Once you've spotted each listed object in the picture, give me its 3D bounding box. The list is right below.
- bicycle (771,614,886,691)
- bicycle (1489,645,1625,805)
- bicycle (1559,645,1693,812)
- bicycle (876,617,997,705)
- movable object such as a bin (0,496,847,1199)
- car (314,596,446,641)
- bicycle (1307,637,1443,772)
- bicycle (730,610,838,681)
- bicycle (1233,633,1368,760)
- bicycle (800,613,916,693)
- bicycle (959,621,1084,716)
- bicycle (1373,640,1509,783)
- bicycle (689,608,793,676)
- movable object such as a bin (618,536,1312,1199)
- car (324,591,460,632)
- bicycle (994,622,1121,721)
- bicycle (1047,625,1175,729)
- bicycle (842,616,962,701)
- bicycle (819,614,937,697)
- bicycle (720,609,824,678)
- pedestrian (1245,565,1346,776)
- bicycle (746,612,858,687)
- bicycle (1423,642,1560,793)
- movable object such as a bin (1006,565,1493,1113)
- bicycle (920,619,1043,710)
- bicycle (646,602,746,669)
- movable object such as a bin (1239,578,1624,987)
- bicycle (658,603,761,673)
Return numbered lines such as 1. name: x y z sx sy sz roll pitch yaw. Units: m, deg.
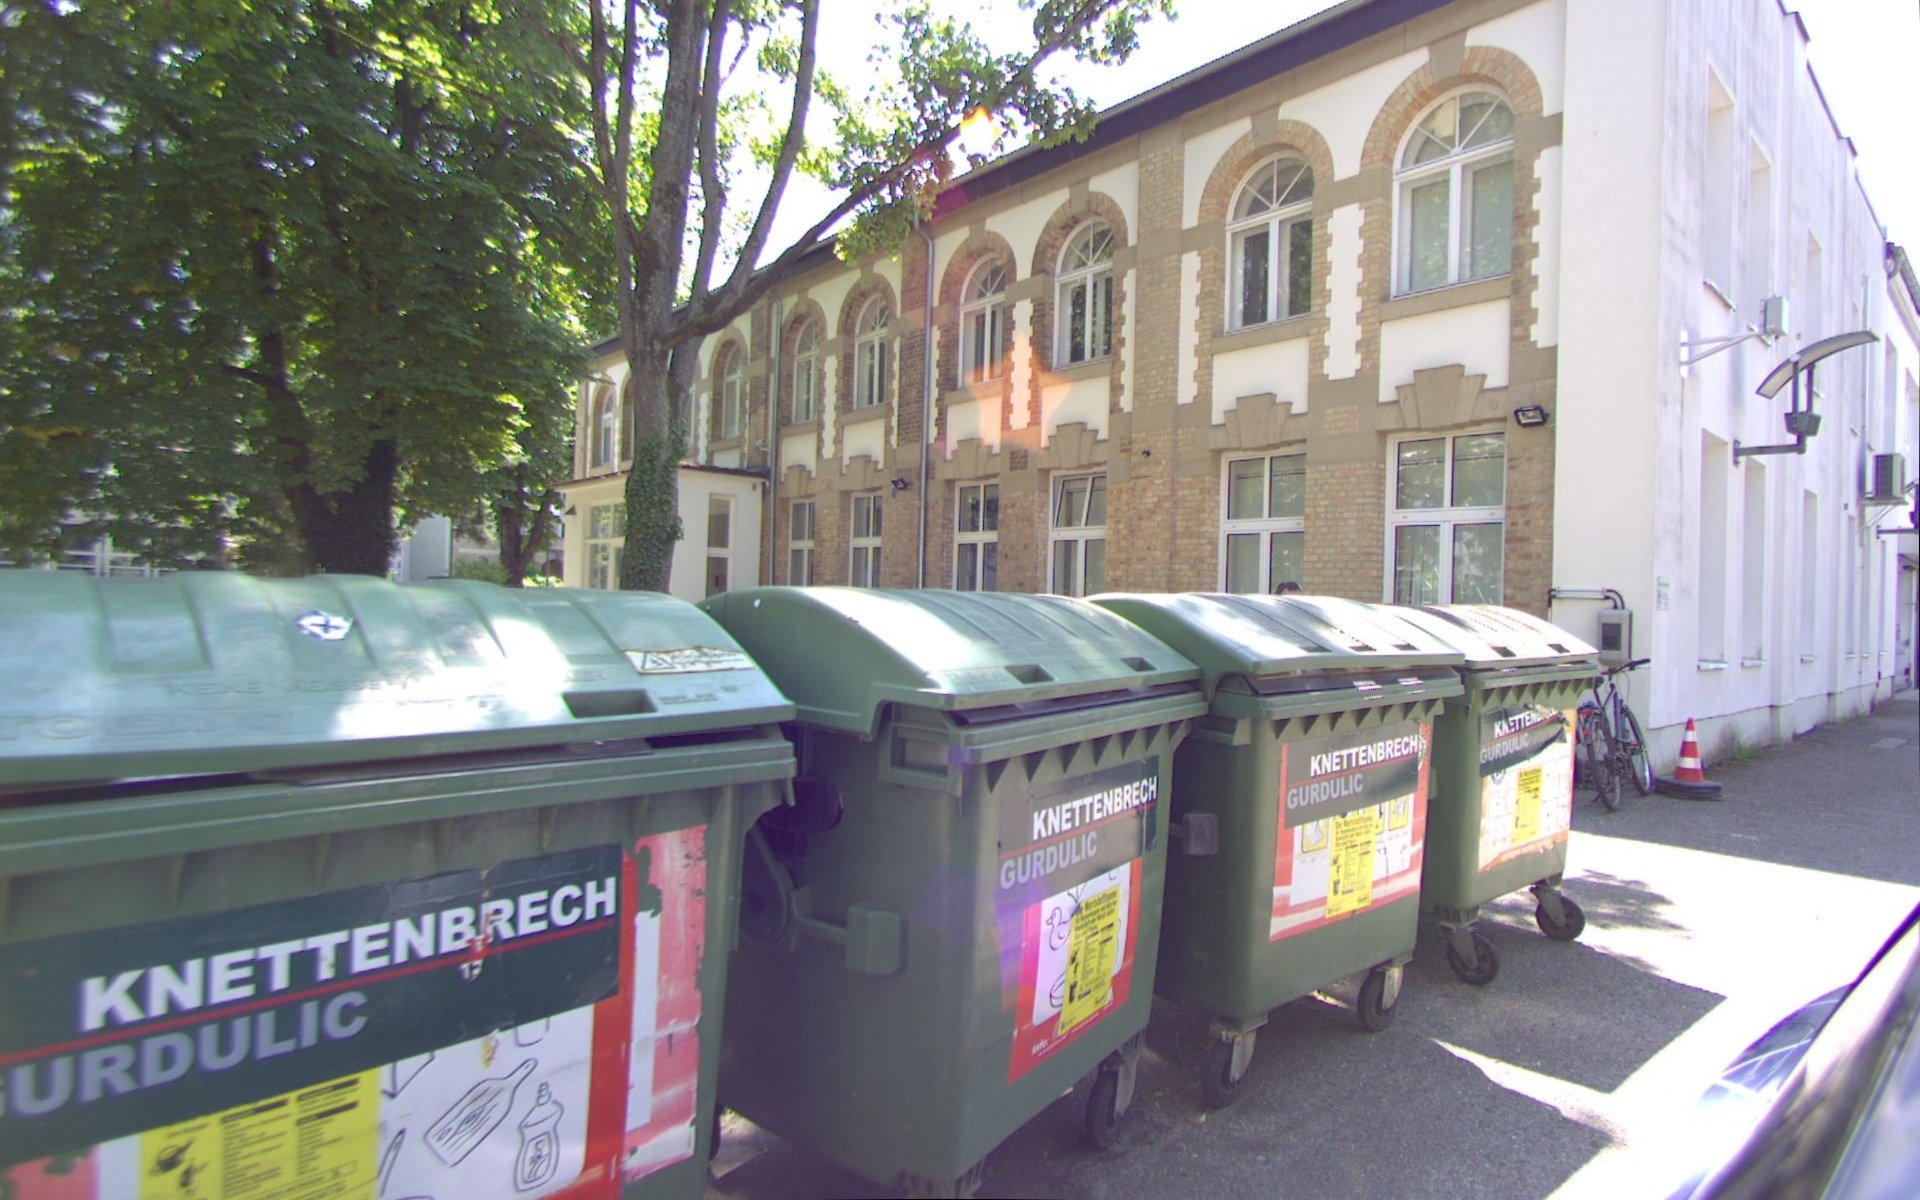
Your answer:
1. bicycle: -1.973 0.771 15.389 1.794 1.115 0.405 1 0 -42
2. bicycle: 4.864 0.953 8.193 1.794 1.115 0.405 1 0 -42
3. bicycle: 5.208 0.940 7.870 1.794 1.115 0.405 1 0 -42
4. bicycle: -0.293 0.797 13.756 1.794 1.115 0.405 1 0 -42
5. movable object such as a bin: -1.060 0.626 1.657 1.352 1.476 1.077 1 0 -40
6. car: -18.843 0.573 33.028 1.634 1.359 3.504 1 0 21
7. bicycle: 3.893 0.922 9.426 1.794 1.115 0.405 1 0 -42
8. bicycle: -2.901 0.740 16.808 1.794 1.115 0.405 1 0 -42
9. bicycle: 3.377 0.906 9.959 1.794 1.115 0.405 1 0 -42
10. bicycle: -1.486 0.761 14.976 1.794 1.115 0.405 1 0 -42
11. bicycle: 0.800 0.828 12.753 1.794 1.115 0.405 1 0 -42
12. bicycle: 4.284 0.934 8.957 1.794 1.115 0.405 1 0 -42
13. bicycle: -3.798 0.714 17.655 1.794 1.115 0.405 1 0 -42
14. movable object such as a bin: 0.022 0.628 2.541 1.352 1.476 1.077 1 0 -40
15. car: -21.853 0.428 39.179 1.652 1.456 4.656 1 0 20
16. bicycle: 1.218 0.840 12.358 1.794 1.115 0.405 1 0 -42
17. bicycle: 1.788 0.857 11.827 1.794 1.115 0.405 1 0 -42
18. bicycle: -0.785 0.783 14.181 1.794 1.115 0.405 1 0 -42
19. bicycle: -1.153 0.772 14.573 1.794 1.115 0.405 1 0 -42
20. bicycle: -3.211 0.728 17.383 1.794 1.115 0.405 1 0 -42
21. pedestrian: 2.952 0.589 8.905 0.677 1.771 0.552 1 0 -40
22. bicycle: -2.474 0.756 15.965 1.794 1.115 0.405 1 0 -42
23. bicycle: 4.552 0.943 8.607 1.794 1.115 0.405 1 0 -42
24. movable object such as a bin: 1.032 0.641 3.586 1.352 1.476 1.077 1 0 -40
25. bicycle: 0.306 0.813 13.267 1.794 1.115 0.405 1 0 -42
26. bicycle: -4.868 0.639 18.768 1.795 1.115 0.405 -3 2 -41
27. movable object such as a bin: 2.106 0.656 4.512 1.352 1.476 1.077 1 0 -40
28. bicycle: -4.465 0.653 18.136 1.795 1.115 0.405 -3 2 -41
